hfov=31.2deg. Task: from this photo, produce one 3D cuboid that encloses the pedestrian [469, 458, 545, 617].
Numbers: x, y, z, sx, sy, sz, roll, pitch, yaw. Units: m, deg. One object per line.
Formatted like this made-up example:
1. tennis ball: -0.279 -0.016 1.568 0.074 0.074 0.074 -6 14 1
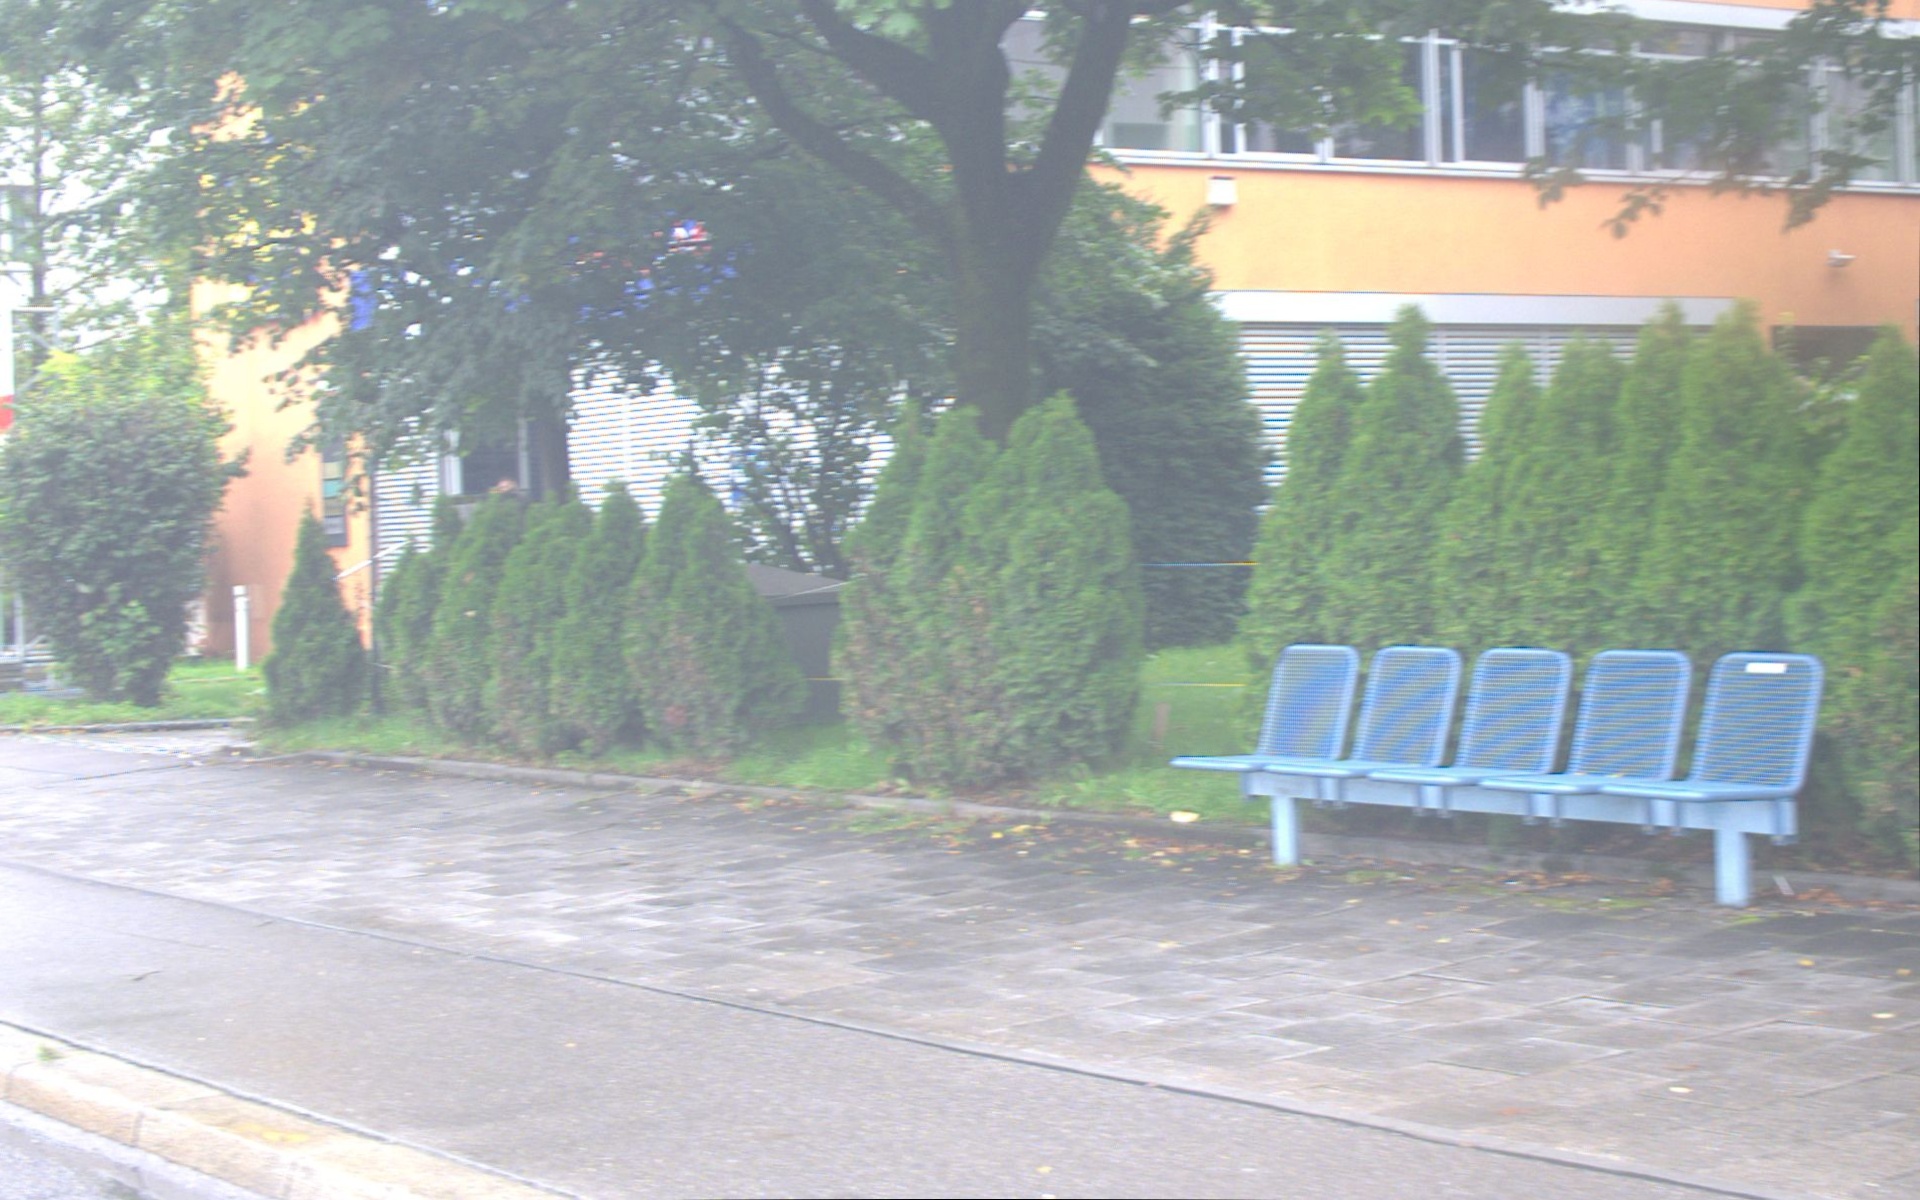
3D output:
1. pedestrian: -5.024 -0.695 38.136 0.658 1.706 0.663 -3 2 -15
